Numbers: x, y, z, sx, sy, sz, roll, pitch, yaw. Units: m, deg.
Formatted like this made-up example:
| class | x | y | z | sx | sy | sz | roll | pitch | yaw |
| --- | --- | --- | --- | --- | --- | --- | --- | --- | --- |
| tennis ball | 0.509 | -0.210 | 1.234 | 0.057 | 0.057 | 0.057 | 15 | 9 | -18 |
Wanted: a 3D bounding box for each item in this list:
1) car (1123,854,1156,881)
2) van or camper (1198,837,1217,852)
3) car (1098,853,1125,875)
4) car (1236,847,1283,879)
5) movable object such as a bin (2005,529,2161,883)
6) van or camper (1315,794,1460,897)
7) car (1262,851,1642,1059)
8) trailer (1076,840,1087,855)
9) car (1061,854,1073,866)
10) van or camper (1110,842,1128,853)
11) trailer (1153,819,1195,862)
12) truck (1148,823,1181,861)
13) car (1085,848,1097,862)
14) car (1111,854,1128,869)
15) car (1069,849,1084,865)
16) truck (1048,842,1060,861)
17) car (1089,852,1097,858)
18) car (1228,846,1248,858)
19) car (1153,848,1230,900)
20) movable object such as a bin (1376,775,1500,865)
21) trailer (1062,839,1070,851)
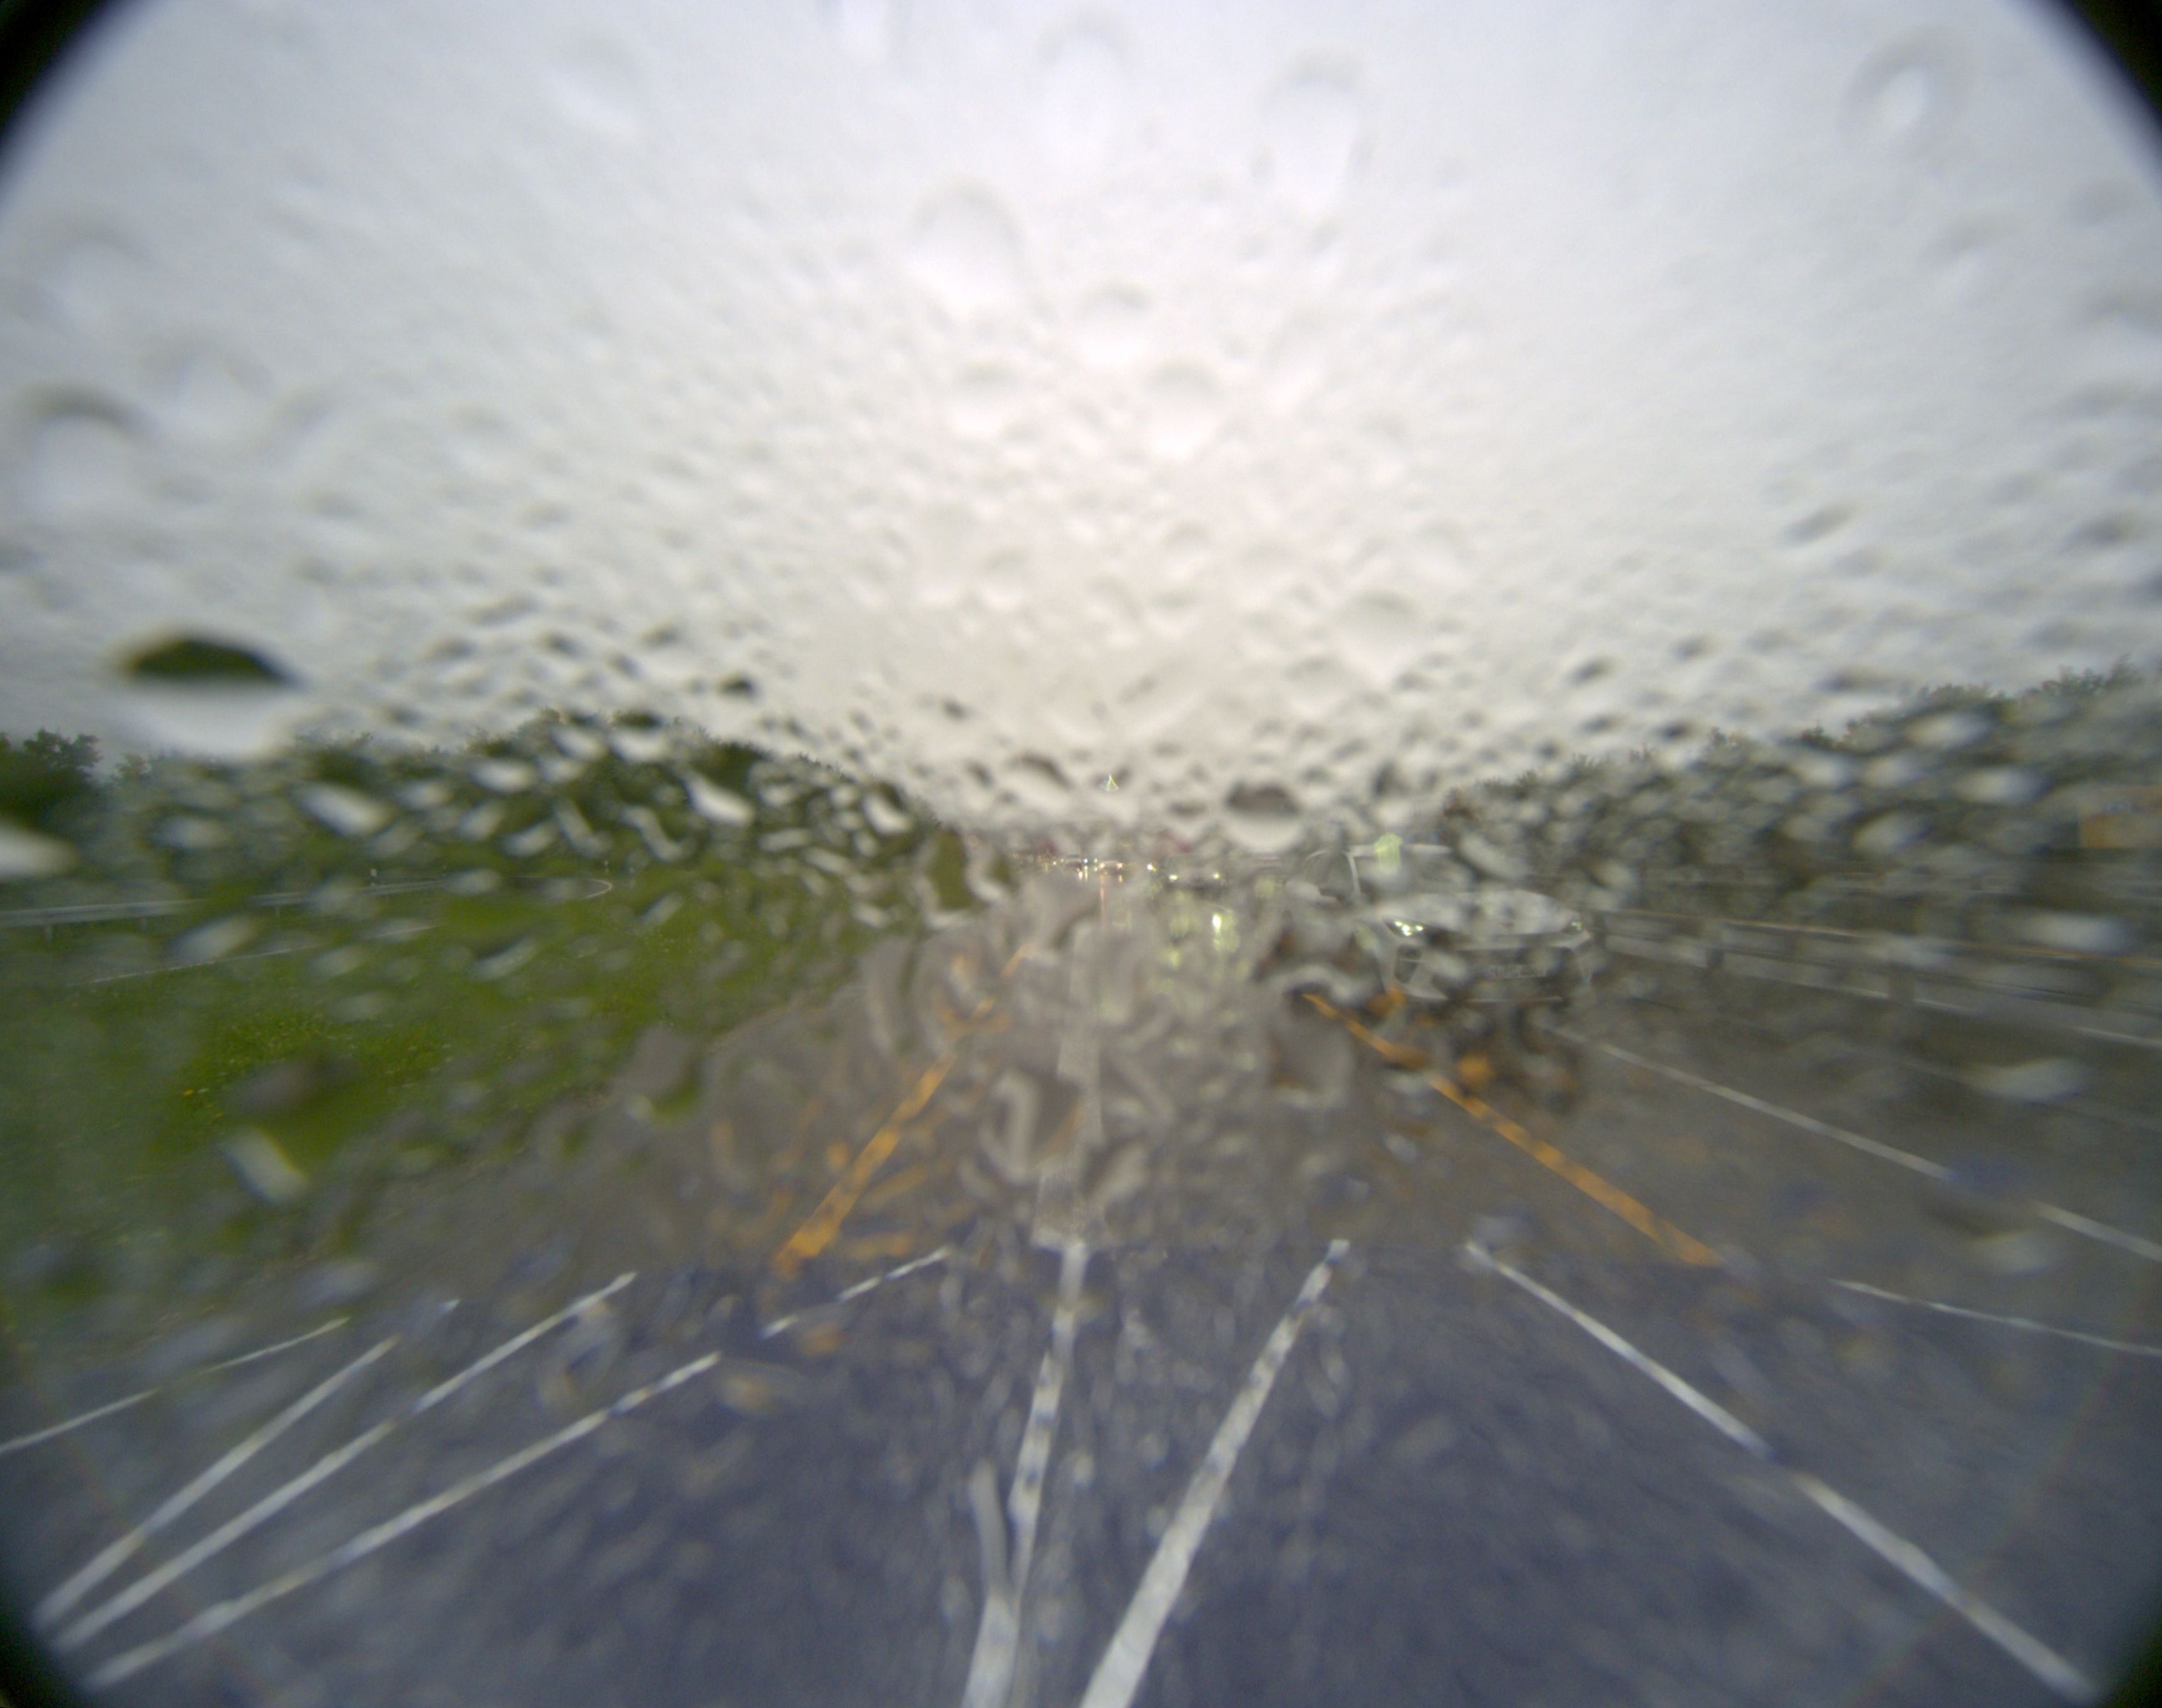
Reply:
| class | x | y | z | sx | sy | sz | roll | pitch | yaw |
| --- | --- | --- | --- | --- | --- | --- | --- | --- | --- |
| car | 3.687 | 0.816 | 48.560 | 1.792 | 1.481 | 3.999 | -3 | 1 | 0 |
| van or camper | 37.571 | -2.825 | 226.125 | 3.376 | 4.299 | 8.502 | -3 | 1 | -5 |
| car | 2.560 | 0.816 | 64.494 | 1.881 | 1.772 | 3.998 | -1 | 1 | -3 |
| car | 10.234 | 0.450 | 43.875 | 1.640 | 1.658 | 4.543 | -3 | 1 | 1 |
| movable object such as a bin | 26.639 | -3.444 | 16.264 | 3.605 | 8.097 | 8.307 | -3 | 1 | 2 |
| van or camper | 10.387 | -0.292 | 26.497 | 2.299 | 3.024 | 6.698 | -3 | 1 | 1 |
| car | 3.492 | 0.785 | 8.448 | 1.932 | 1.542 | 5.007 | -2 | 1 | 3 |
| trailer | -0.032 | -1.928 | 223.257 | 2.915 | 4.065 | 12.218 | -1 | 0 | -1 |
| car | -2.271 | 0.911 | 121.189 | 1.674 | 1.804 | 3.998 | -1 | 1 | -4 |
| van or camper | 12.948 | -2.206 | 260.865 | 5.423 | 3.325 | 3.375 | -3 | 1 | -7 |
| trailer | 9.804 | -1.361 | 81.472 | 2.983 | 4.270 | 11.057 | -1 | 1 | -1 |
| truck | 9.728 | -1.438 | 88.956 | 3.015 | 4.247 | 6.799 | -1 | 1 | -1 |
| car | 1.509 | 0.101 | 115.862 | 1.767 | 2.002 | 3.999 | -3 | 1 | 0 |
| car | 3.928 | 0.761 | 78.215 | 1.589 | 1.528 | 3.831 | -1 | 1 | 0 |
| car | -0.535 | 0.351 | 87.649 | 1.673 | 1.804 | 3.999 | -1 | 1 | 0 |
| truck | -6.213 | -0.679 | 176.922 | 2.506 | 4.067 | 15.197 | -3 | 1 | -1 |
| car | 3.152 | 0.213 | 206.289 | 1.999 | 1.497 | 4.295 | -2 | 1 | -1 |
| car | 27.451 | -0.307 | 133.325 | 2.099 | 1.955 | 5.363 | -2 | 1 | -3 |
| car | 3.826 | 0.628 | 27.126 | 2.069 | 1.618 | 5.195 | -2 | 1 | 1 |
| movable object such as a bin | 26.280 | -2.402 | 56.902 | 4.181 | 5.881 | 11.044 | -3 | 1 | 2 |
| trailer | -5.367 | -2.989 | 265.907 | 2.501 | 4.026 | 12.582 | -1 | 1 | -2 |
